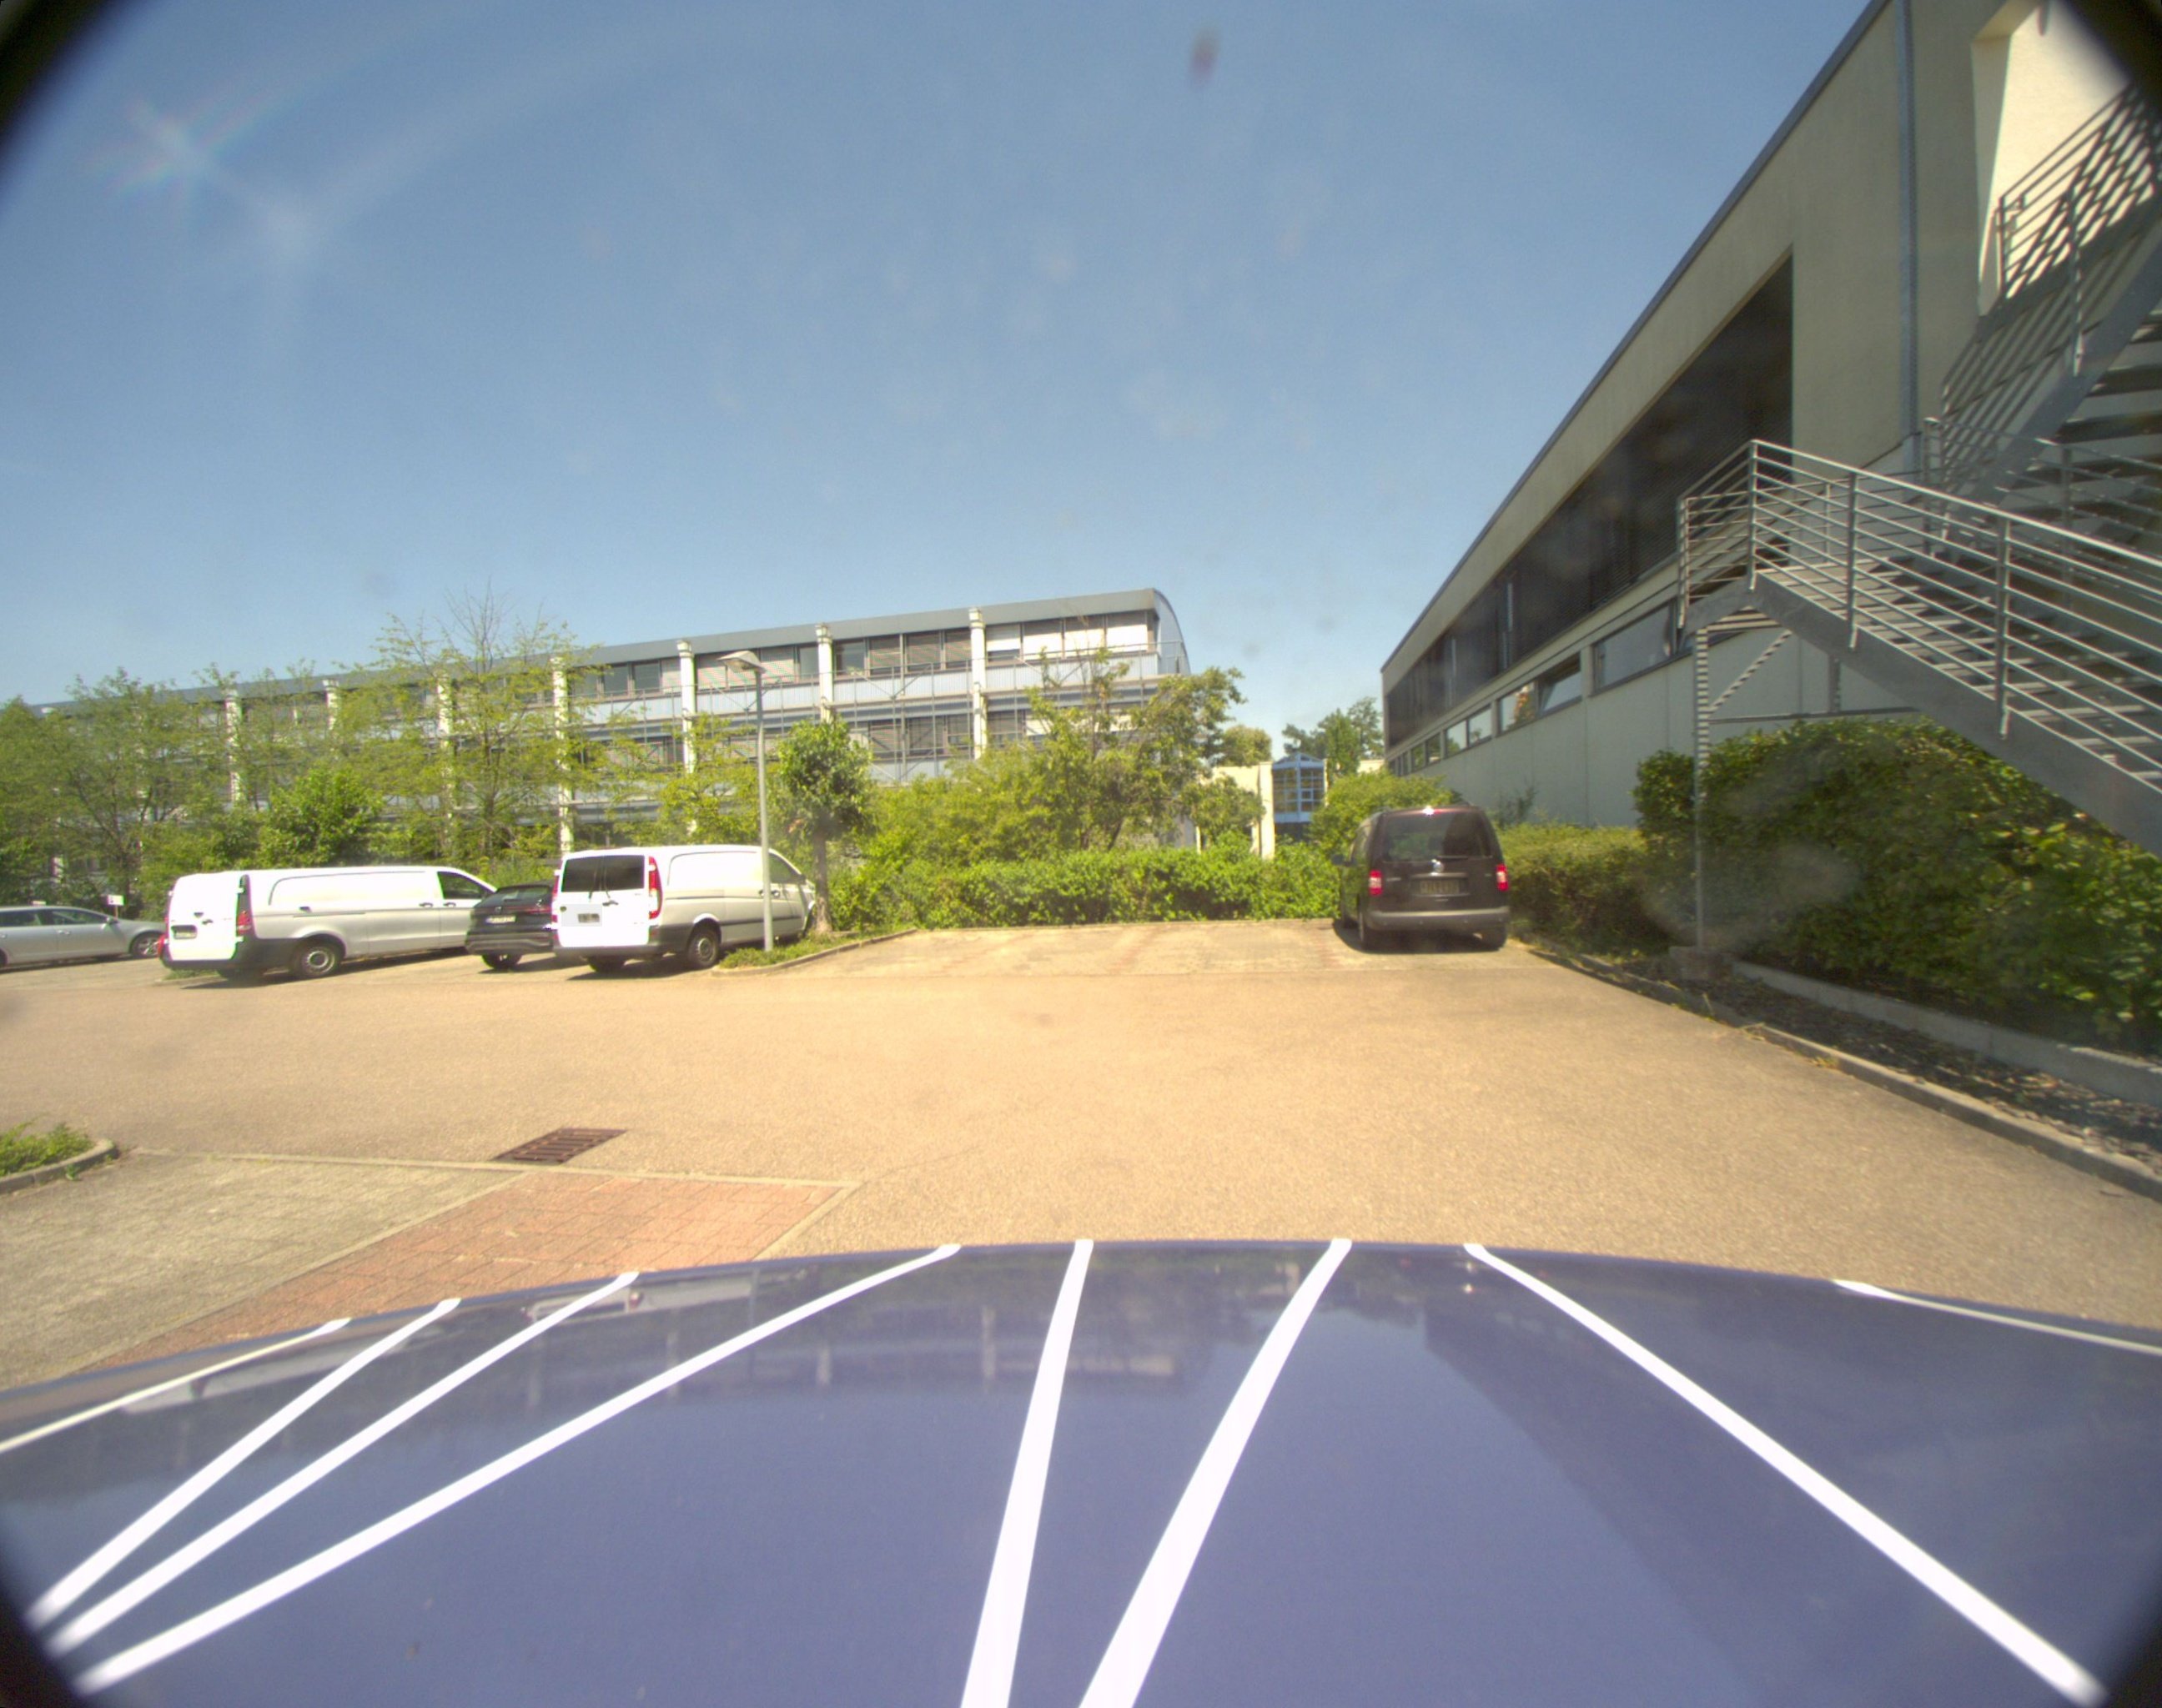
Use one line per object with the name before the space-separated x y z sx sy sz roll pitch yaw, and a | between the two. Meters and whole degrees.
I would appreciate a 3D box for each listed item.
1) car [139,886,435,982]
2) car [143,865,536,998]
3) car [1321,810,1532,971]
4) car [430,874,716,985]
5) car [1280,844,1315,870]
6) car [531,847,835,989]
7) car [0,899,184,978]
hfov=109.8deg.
car | -16.355 1.569 15.975 1.622 1.479 3.924 -3 1 14
car | -13.390 1.267 14.293 1.853 1.845 4.939 -3 1 15
car | 4.713 0.405 11.049 1.865 1.849 4.232 -3 1 12
car | -8.864 1.238 13.782 1.737 1.475 4.201 -3 1 12
car | 14.960 0.154 52.598 1.834 1.558 4.001 -2 2 10
car | -6.287 0.890 12.810 1.865 1.849 4.680 -3 1 12
car | -23.935 1.955 17.322 1.736 1.475 4.089 -3 1 15
